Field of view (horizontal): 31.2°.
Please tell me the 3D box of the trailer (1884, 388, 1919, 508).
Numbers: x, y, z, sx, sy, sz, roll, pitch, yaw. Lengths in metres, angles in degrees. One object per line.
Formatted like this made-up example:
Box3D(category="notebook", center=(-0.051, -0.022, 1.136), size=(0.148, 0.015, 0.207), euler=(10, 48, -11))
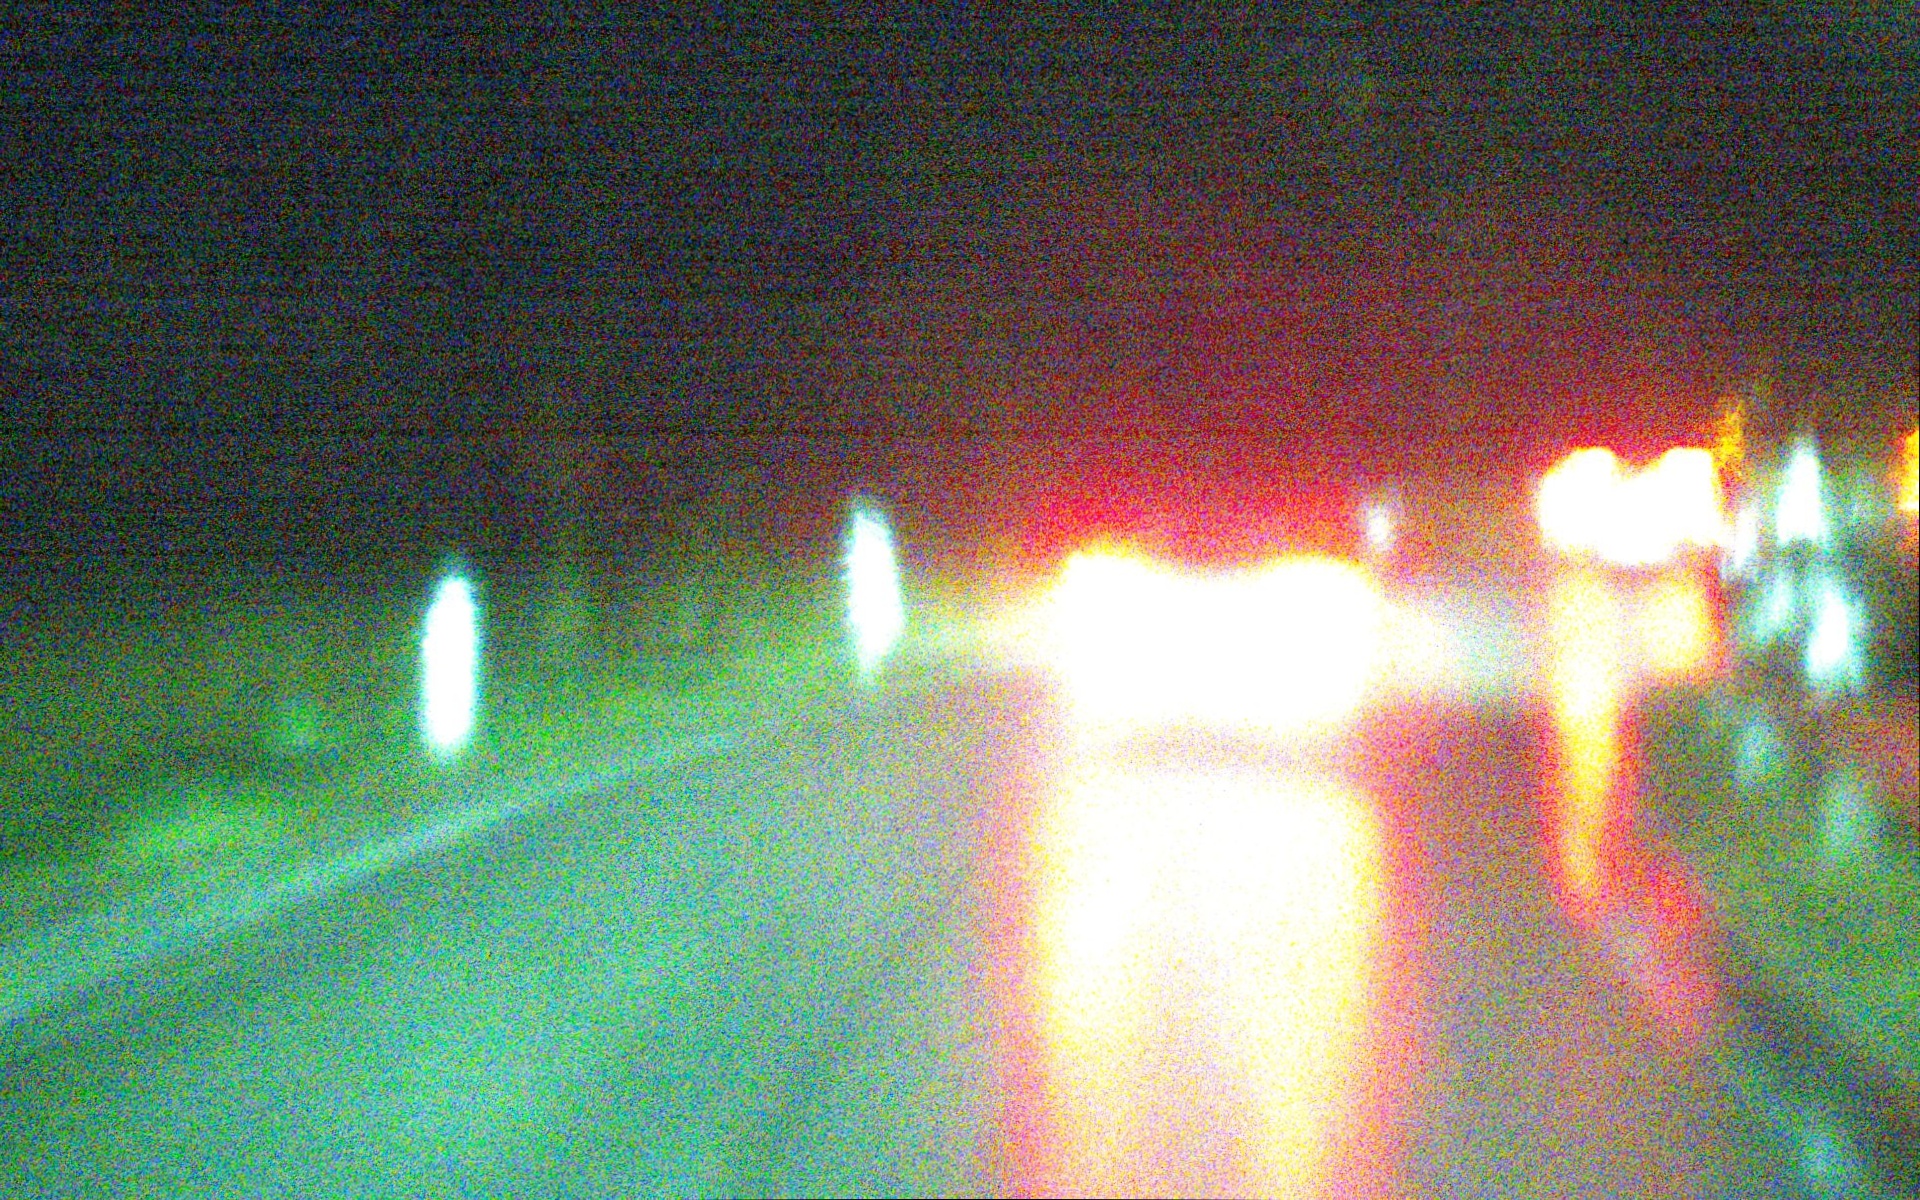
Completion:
Box3D(category="trailer", center=(19.217, -2.757, 64.182), size=(2.080, 2.007, 10.634), euler=(-3, 0, 24))
